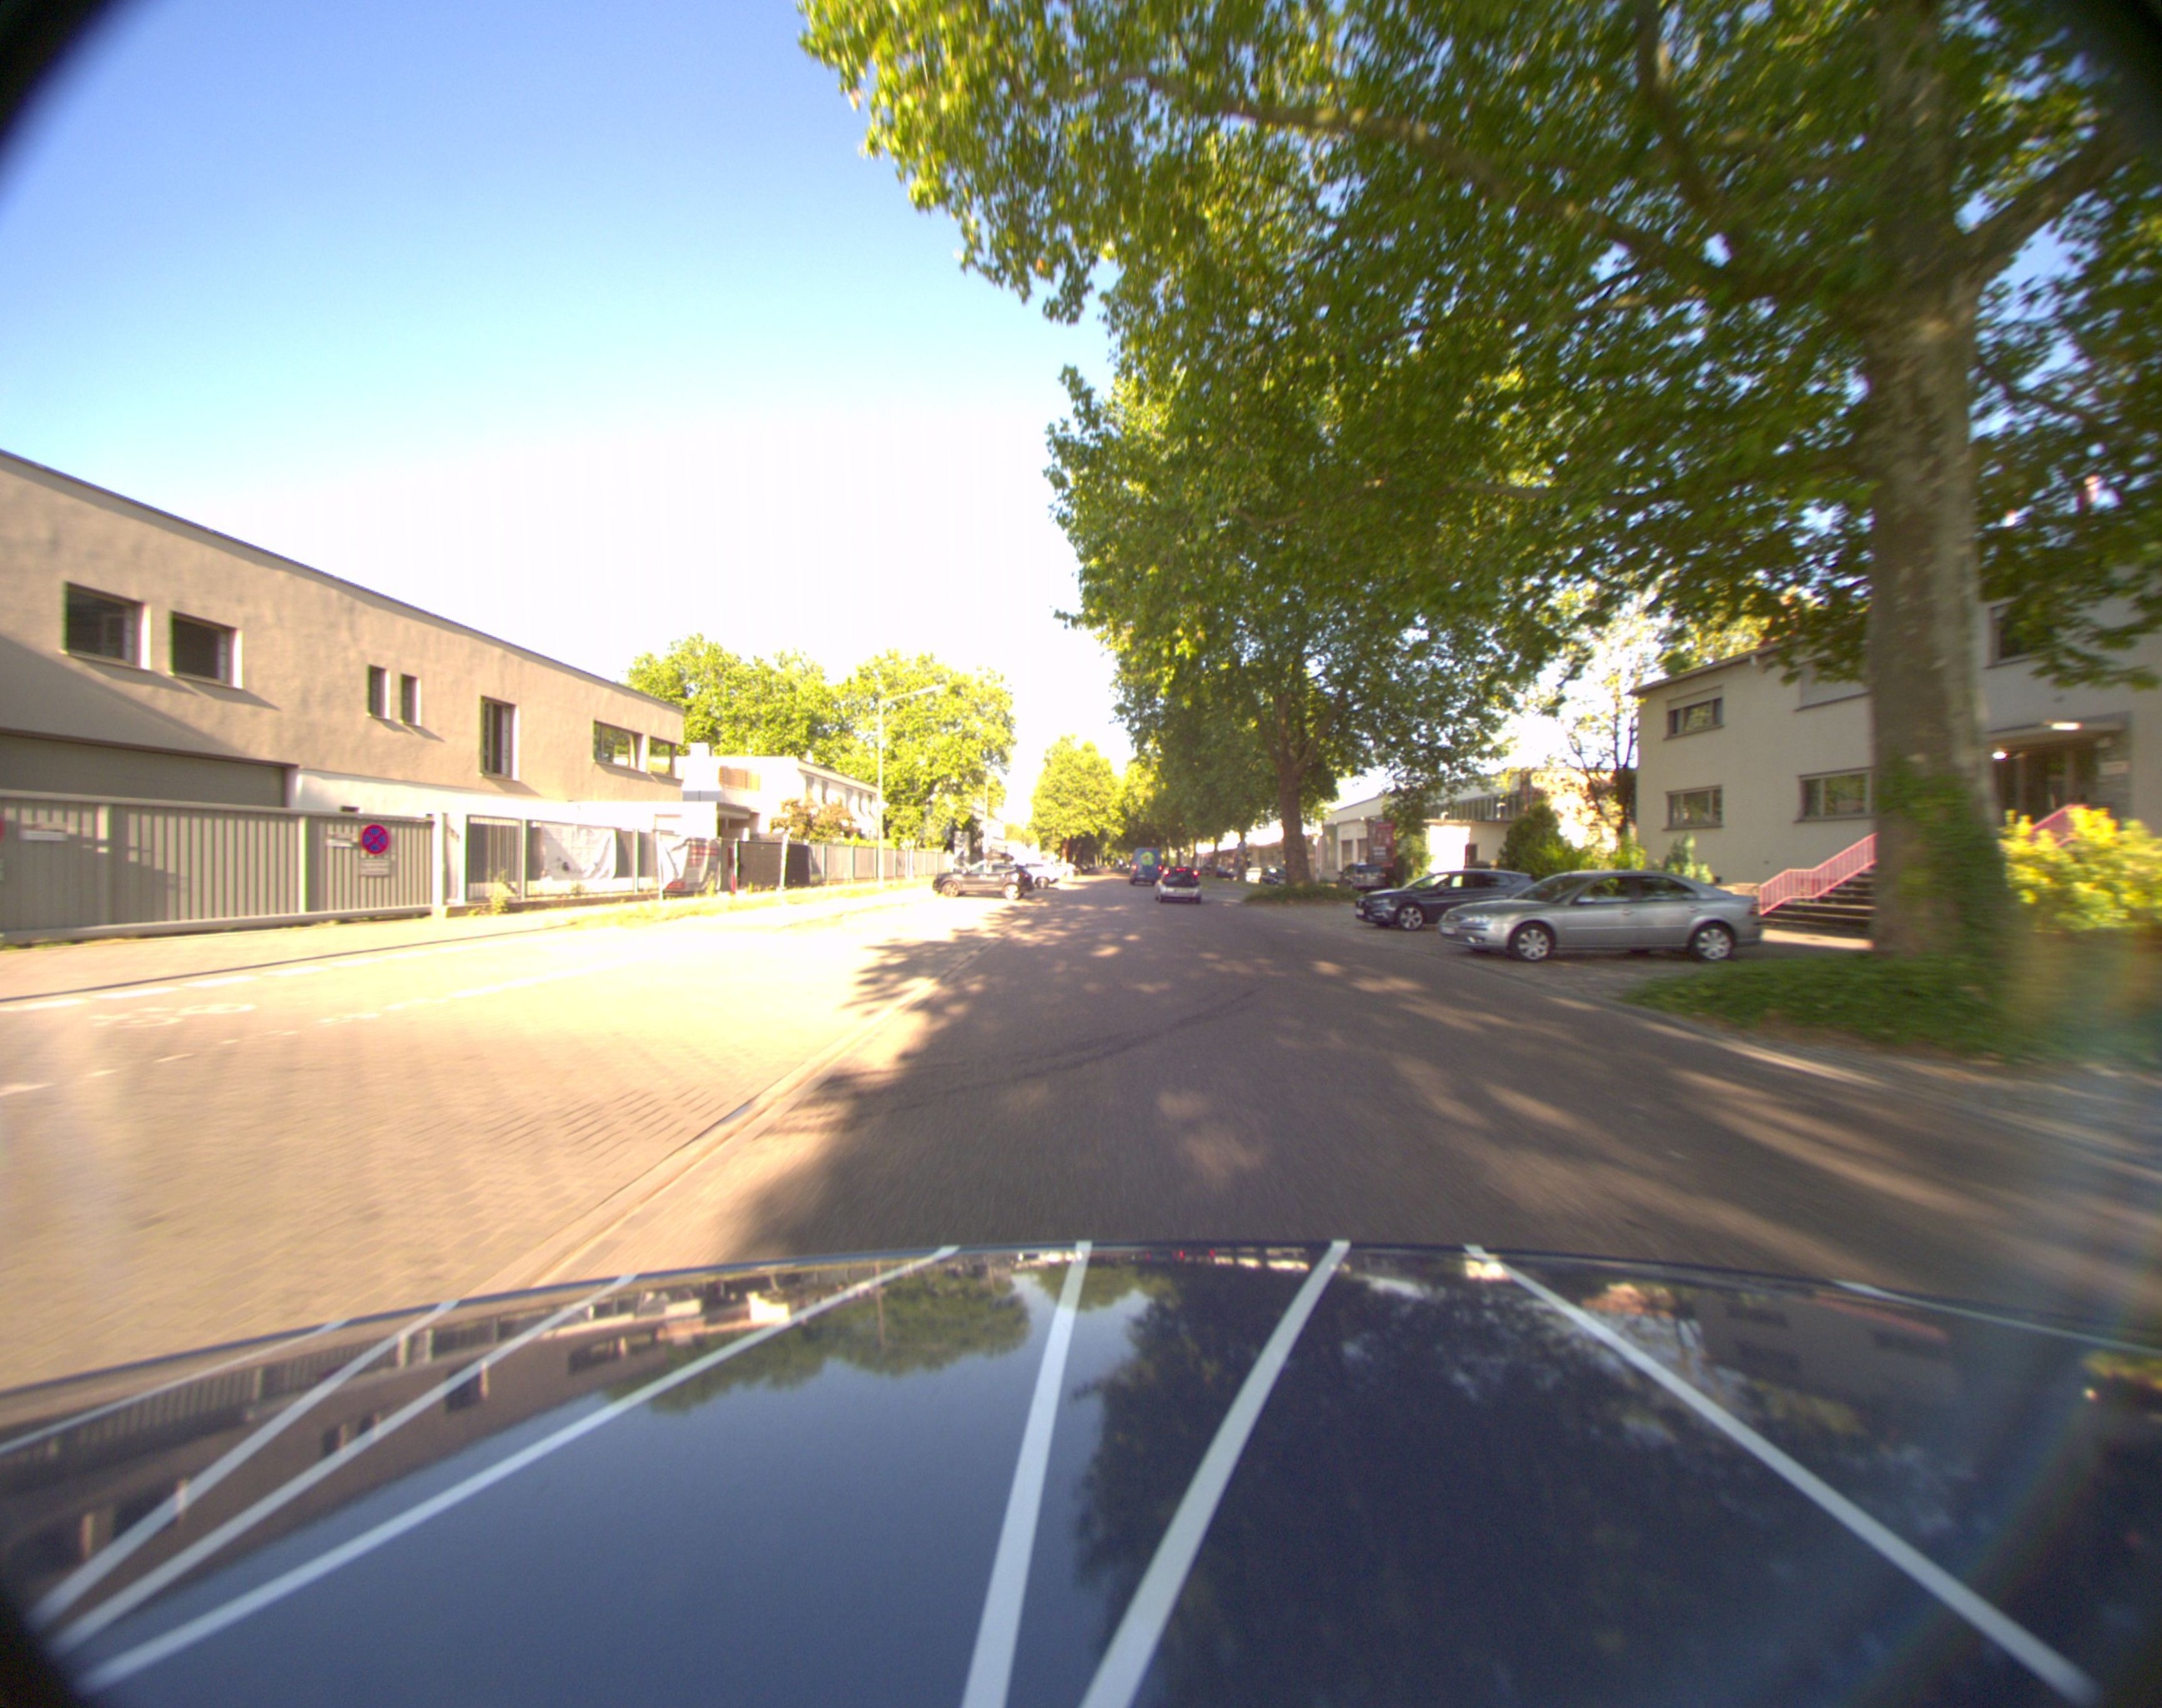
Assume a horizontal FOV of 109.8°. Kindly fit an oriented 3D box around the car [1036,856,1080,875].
[{"bbox_3d":[-2.433,1.203,81.206,4.582,1.705,1.943,3,0,-2],"label":"car"}]

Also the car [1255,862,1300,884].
[{"bbox_3d":[14.171,1.341,55.080,1.999,1.362,3.919,5,0,-3],"label":"car"}]

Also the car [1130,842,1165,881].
[{"bbox_3d":[4.834,0.551,56.253,2.133,2.643,7.002,1,-1,1],"label":"car"}]

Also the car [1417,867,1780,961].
[{"bbox_3d":[8.286,0.919,12.524,4.611,1.413,2.000,0,-1,1],"label":"car"}]

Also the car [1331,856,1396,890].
[{"bbox_3d":[14.680,0.947,39.790,1.998,1.567,4.274,-1,0,3],"label":"car"}]

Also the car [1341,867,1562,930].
[{"bbox_3d":[8.761,1.017,18.266,4.365,1.413,2.000,0,0,-1],"label":"car"}]

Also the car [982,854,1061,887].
[{"bbox_3d":[-3.617,0.980,46.828,4.636,1.702,2.000,3,1,0],"label":"car"}]

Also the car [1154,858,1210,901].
[{"bbox_3d":[4.132,1.018,31.661,1.843,1.562,3.802,2,0,1],"label":"car"}]

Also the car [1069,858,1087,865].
[{"bbox_3d":[-0.659,1.651,171.819,3.943,1.504,1.667,3,1,1],"label":"car"}]

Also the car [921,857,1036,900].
[{"bbox_3d":[-4.380,1.036,33.032,4.636,1.518,2.000,3,1,0],"label":"car"}]
